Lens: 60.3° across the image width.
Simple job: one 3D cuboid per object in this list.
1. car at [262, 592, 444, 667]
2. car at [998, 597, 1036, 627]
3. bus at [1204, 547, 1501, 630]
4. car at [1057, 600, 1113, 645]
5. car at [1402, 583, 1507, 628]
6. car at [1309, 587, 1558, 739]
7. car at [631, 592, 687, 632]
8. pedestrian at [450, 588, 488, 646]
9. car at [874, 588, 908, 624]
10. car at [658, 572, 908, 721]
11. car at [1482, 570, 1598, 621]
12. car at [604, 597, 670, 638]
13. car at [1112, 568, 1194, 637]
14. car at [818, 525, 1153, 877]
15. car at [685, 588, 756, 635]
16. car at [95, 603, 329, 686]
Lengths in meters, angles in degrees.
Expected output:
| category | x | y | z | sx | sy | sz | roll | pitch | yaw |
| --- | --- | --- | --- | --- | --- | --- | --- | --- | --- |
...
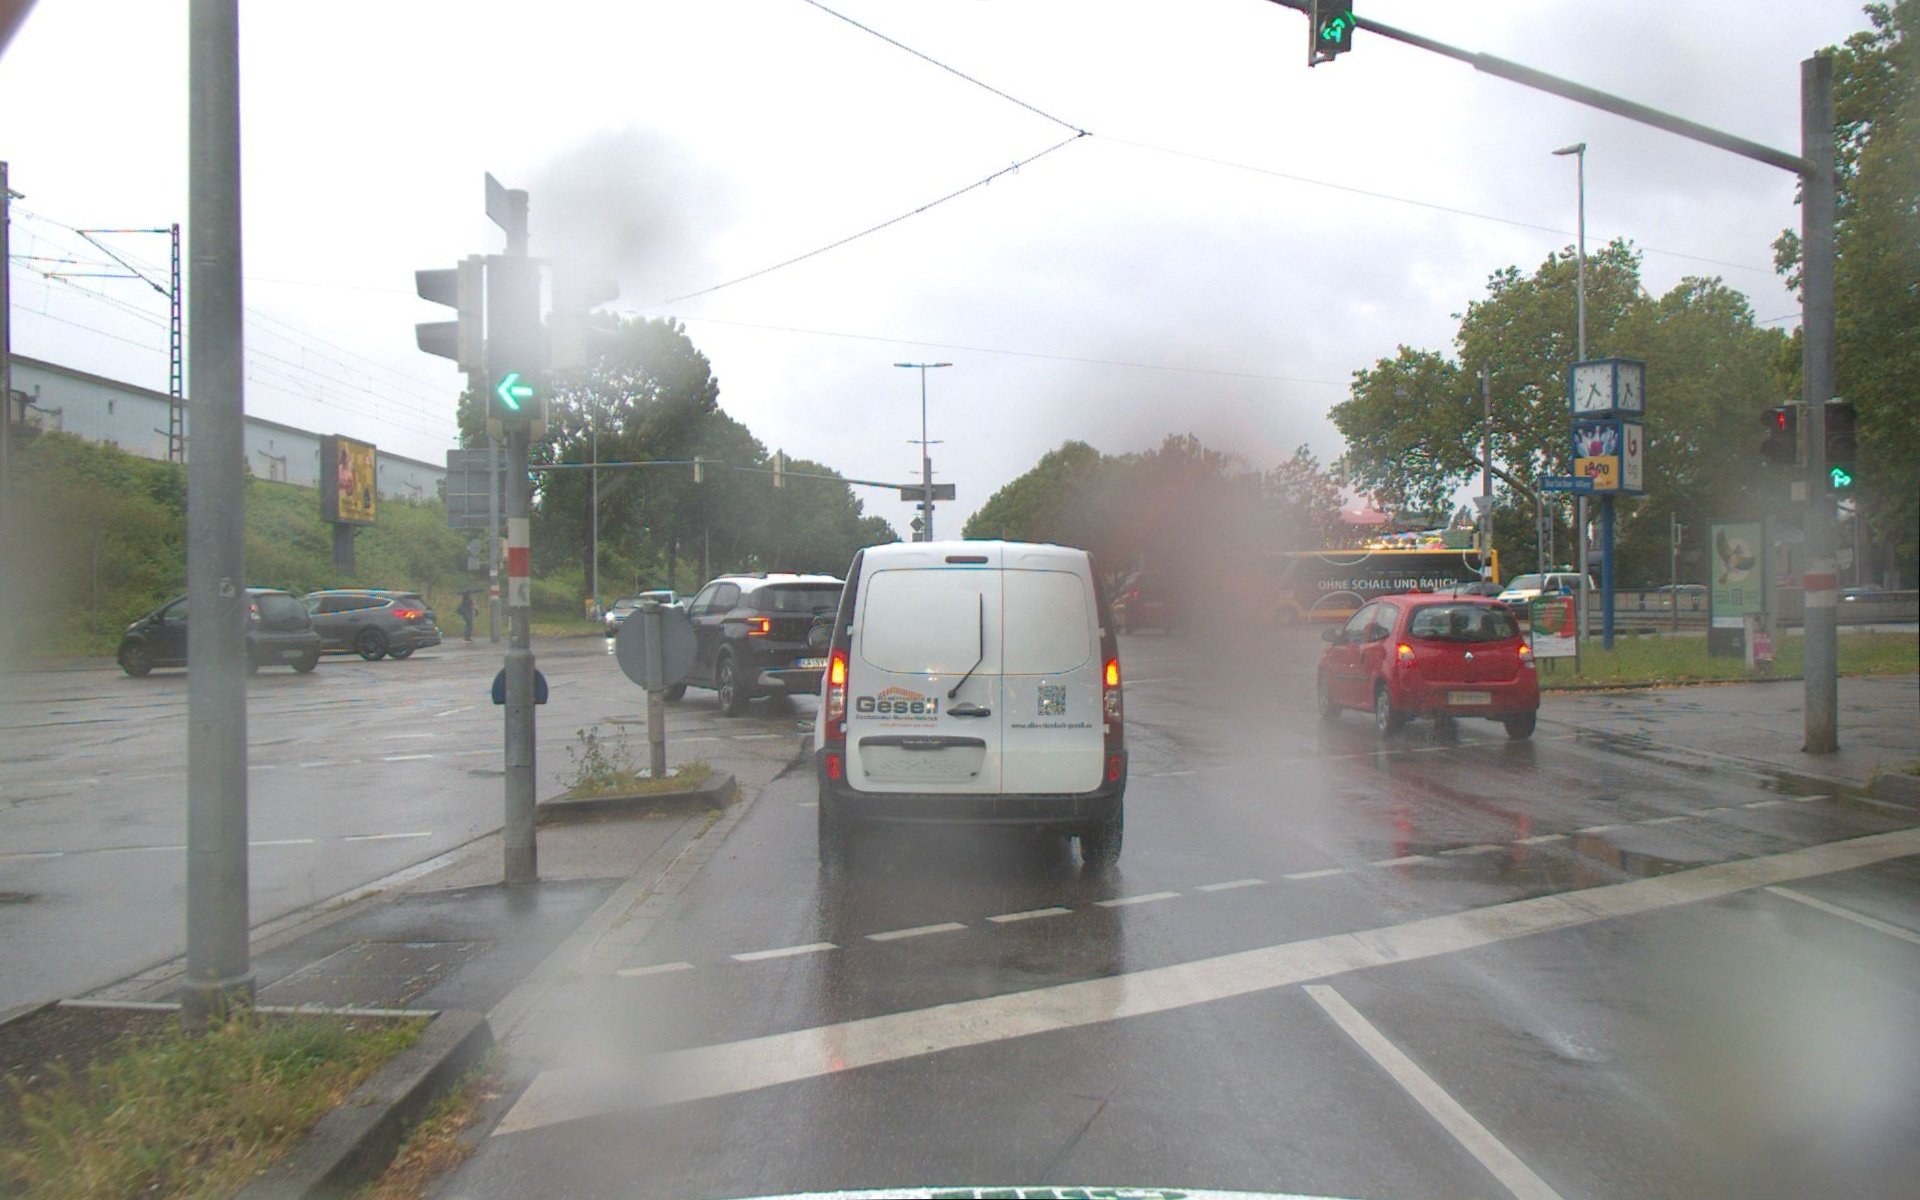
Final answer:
| category | x | y | z | sx | sy | sz | roll | pitch | yaw |
| --- | --- | --- | --- | --- | --- | --- | --- | --- | --- |
| car | -12.859 | 0.607 | 35.178 | 3.276 | 1.499 | 1.568 | -1 | 1 | -2 |
| car | 3.361 | 0.698 | 97.920 | 1.956 | 1.646 | 3.998 | -1 | 0 | -2 |
| bus | 16.804 | -0.500 | 71.295 | 12.003 | 3.325 | 3.273 | -1 | 0 | -2 |
| car | 4.809 | 0.838 | 64.044 | 1.805 | 1.646 | 4.000 | 1 | 0 | 0 |
| car | 19.509 | 0.196 | 65.185 | 4.299 | 1.680 | 1.907 | -1 | 0 | -39 |
| car | 5.139 | 0.625 | 18.413 | 1.645 | 1.517 | 3.620 | 0 | 0 | -2 |
| car | -12.205 | 0.461 | 67.240 | 1.791 | 1.508 | 3.997 | -1 | 1 | -4 |
| pedestrian | -14.957 | 0.512 | 50.401 | 0.983 | 1.749 | 0.818 | 0 | 0 | -10 |
| car | -3.450 | 0.271 | 82.070 | 1.568 | 1.750 | 3.997 | -1 | 1 | -4 |
| car | -2.303 | 0.503 | 20.536 | 1.893 | 1.637 | 3.968 | -1 | 1 | -25 |
| car | 22.495 | -0.188 | 64.086 | 4.698 | 1.881 | 2.049 | -1 | 0 | -39 |
| car | -11.857 | 0.615 | 60.903 | 1.855 | 1.373 | 3.997 | -1 | 1 | -4 |
| car | 4.961 | 0.048 | 42.890 | 1.599 | 1.684 | 3.483 | 1 | 0 | -2 |
| car | -0.029 | 0.517 | 10.569 | 1.722 | 1.808 | 3.996 | 1 | 0 | -5 |
| car | -9.043 | 0.422 | 62.747 | 1.980 | 1.686 | 4.062 | -1 | 1 | 2 |
| car | -12.791 | 0.751 | 28.339 | 3.373 | 1.329 | 1.584 | -1 | 1 | 13 |
